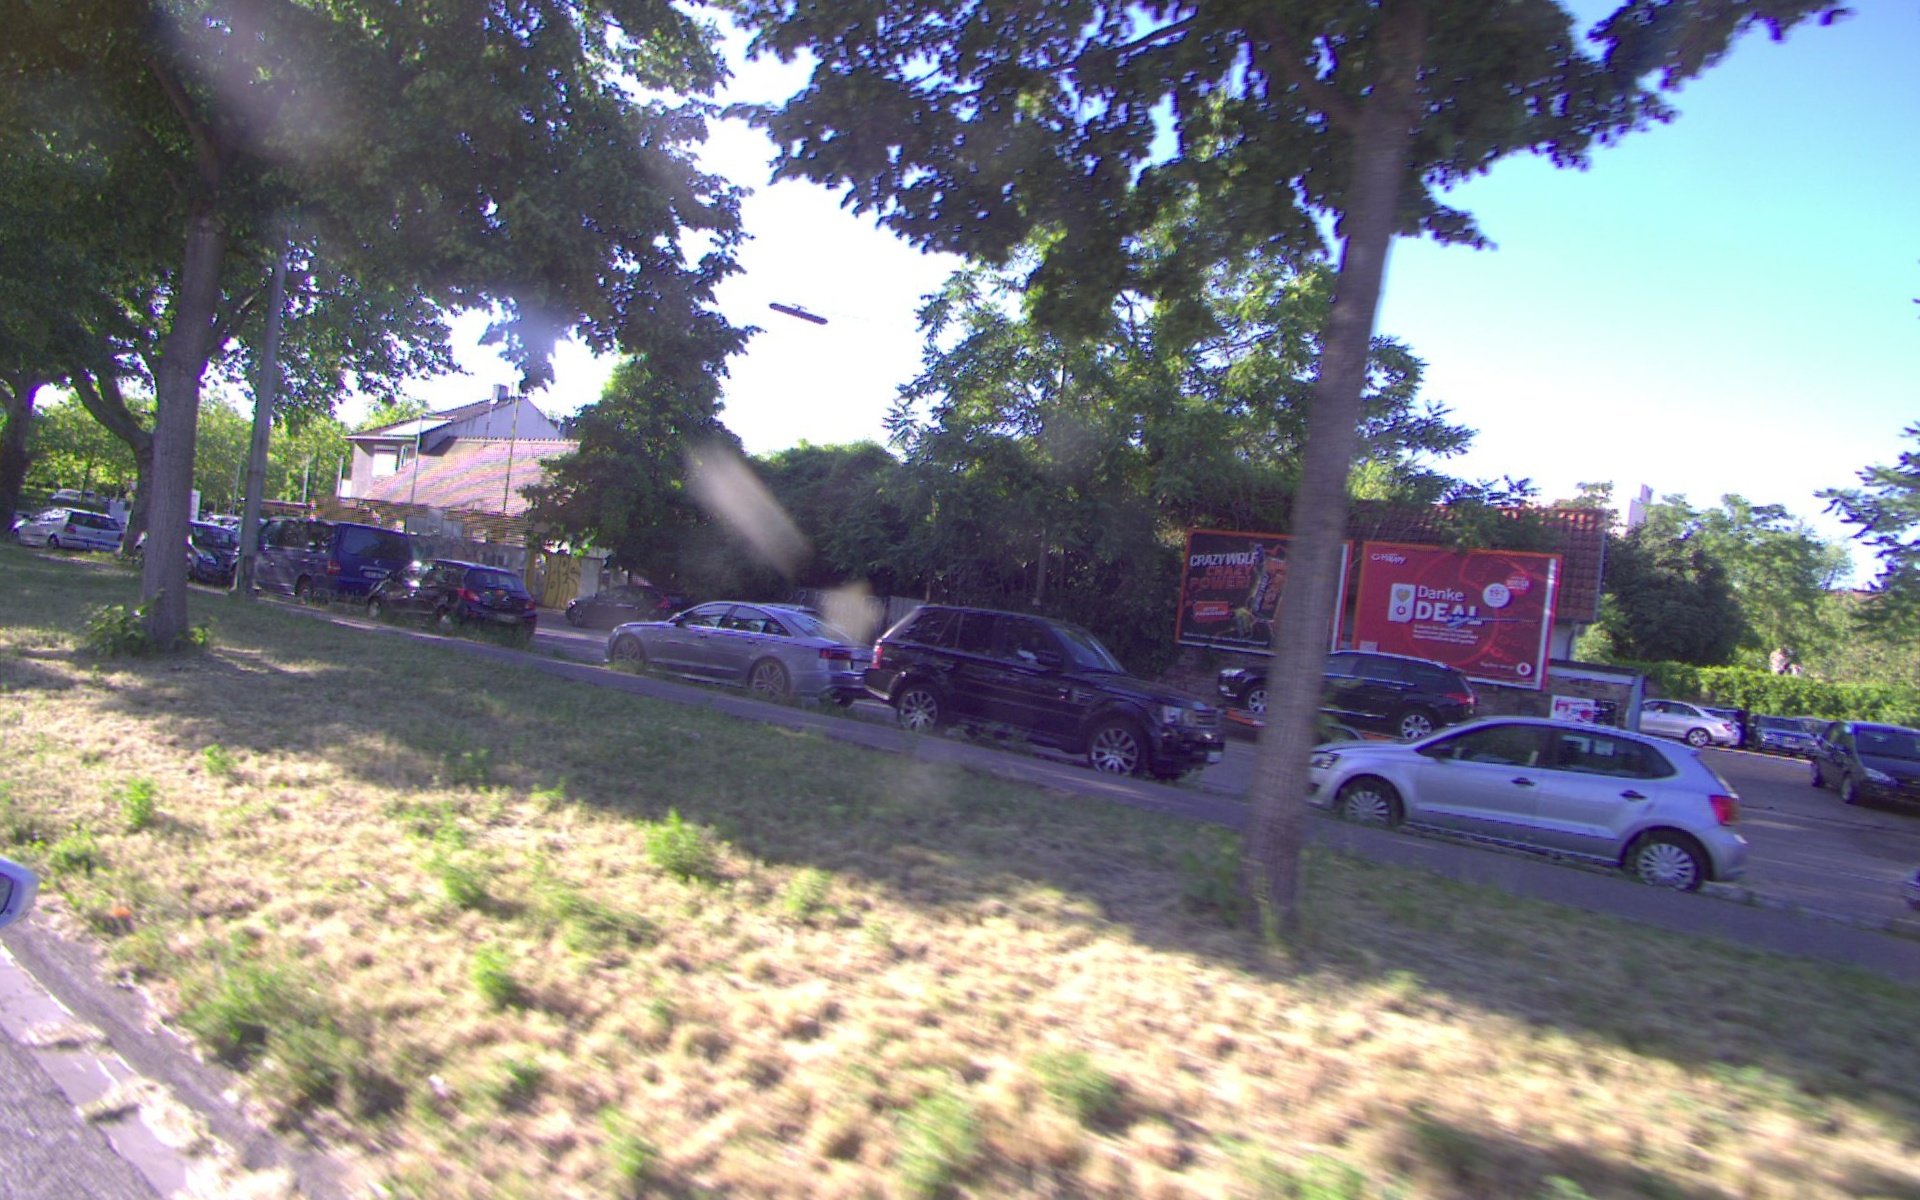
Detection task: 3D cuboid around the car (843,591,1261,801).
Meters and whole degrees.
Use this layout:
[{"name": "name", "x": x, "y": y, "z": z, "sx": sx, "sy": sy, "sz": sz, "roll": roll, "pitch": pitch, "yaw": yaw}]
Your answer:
[{"name": "car", "x": 1.047, "y": 1.104, "z": 12.737, "sx": 4.815, "sy": 1.841, "sz": 1.874, "roll": 6, "pitch": -3, "yaw": 35}]

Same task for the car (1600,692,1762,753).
[{"name": "car", "x": 25.069, "y": 4.257, "z": 35.187, "sx": 4.338, "sy": 1.436, "sz": 1.902, "roll": 6, "pitch": -3, "yaw": 32}]

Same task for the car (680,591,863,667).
[{"name": "car", "x": -5.119, "y": 0.758, "z": 27.151, "sx": 4.610, "sy": 1.502, "sz": 1.874, "roll": 6, "pitch": 1, "yaw": 29}]

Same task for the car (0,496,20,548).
[{"name": "car", "x": -34.859, "y": -2.945, "z": 34.899, "sx": 3.929, "sy": 1.703, "sz": 1.877, "roll": 6, "pitch": -2, "yaw": 26}]

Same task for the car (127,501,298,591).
[{"name": "car", "x": -18.478, "y": -1.345, "z": 24.841, "sx": 3.933, "sy": 1.703, "sz": 1.875, "roll": 6, "pitch": -2, "yaw": 31}]

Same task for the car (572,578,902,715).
[{"name": "car", "x": -3.517, "y": 0.702, "z": 15.679, "sx": 4.816, "sy": 1.450, "sz": 1.877, "roll": 6, "pitch": -2, "yaw": 27}]

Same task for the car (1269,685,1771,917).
[{"name": "car", "x": 5.366, "y": 1.850, "z": 10.133, "sx": 3.930, "sy": 1.405, "sz": 1.877, "roll": 6, "pitch": -2, "yaw": 27}]

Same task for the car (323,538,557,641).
[{"name": "car", "x": -9.842, "y": -0.205, "z": 19.027, "sx": 3.930, "sy": 1.383, "sz": 1.877, "roll": 6, "pitch": -2, "yaw": 27}]

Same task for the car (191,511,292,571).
[{"name": "car", "x": -29.656, "y": -2.432, "z": 41.518, "sx": 3.935, "sy": 2.039, "sz": 1.995, "roll": 6, "pitch": 0, "yaw": 33}]

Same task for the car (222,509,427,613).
[{"name": "car", "x": -13.833, "y": -0.858, "z": 21.883, "sx": 3.930, "sy": 1.703, "sz": 1.877, "roll": 6, "pitch": -2, "yaw": 27}]

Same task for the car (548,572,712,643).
[{"name": "car", "x": -9.851, "y": 0.217, "z": 29.951, "sx": 4.610, "sy": 1.566, "sz": 1.874, "roll": 6, "pitch": 0, "yaw": 29}]

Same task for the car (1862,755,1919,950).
[{"name": "car", "x": 10.258, "y": 2.353, "z": 7.405, "sx": 4.970, "sy": 1.541, "sz": 1.876, "roll": 6, "pitch": -2, "yaw": 30}]

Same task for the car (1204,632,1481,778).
[{"name": "car", "x": 7.309, "y": 1.901, "z": 19.333, "sx": 4.610, "sy": 2.028, "sz": 1.874, "roll": 6, "pitch": 1, "yaw": 29}]

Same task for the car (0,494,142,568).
[{"name": "car", "x": -26.636, "y": -2.056, "z": 30.040, "sx": 3.929, "sy": 1.705, "sz": 1.875, "roll": 6, "pitch": 0, "yaw": 26}]

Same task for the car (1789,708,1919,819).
[{"name": "car", "x": 19.270, "y": 3.389, "z": 21.061, "sx": 1.871, "sy": 1.766, "sz": 3.995, "roll": 7, "pitch": 1, "yaw": 26}]

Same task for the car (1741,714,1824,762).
[{"name": "car", "x": 30.765, "y": 5.155, "z": 37.719, "sx": 1.874, "sy": 1.436, "sz": 3.994, "roll": 6, "pitch": -3, "yaw": 34}]
